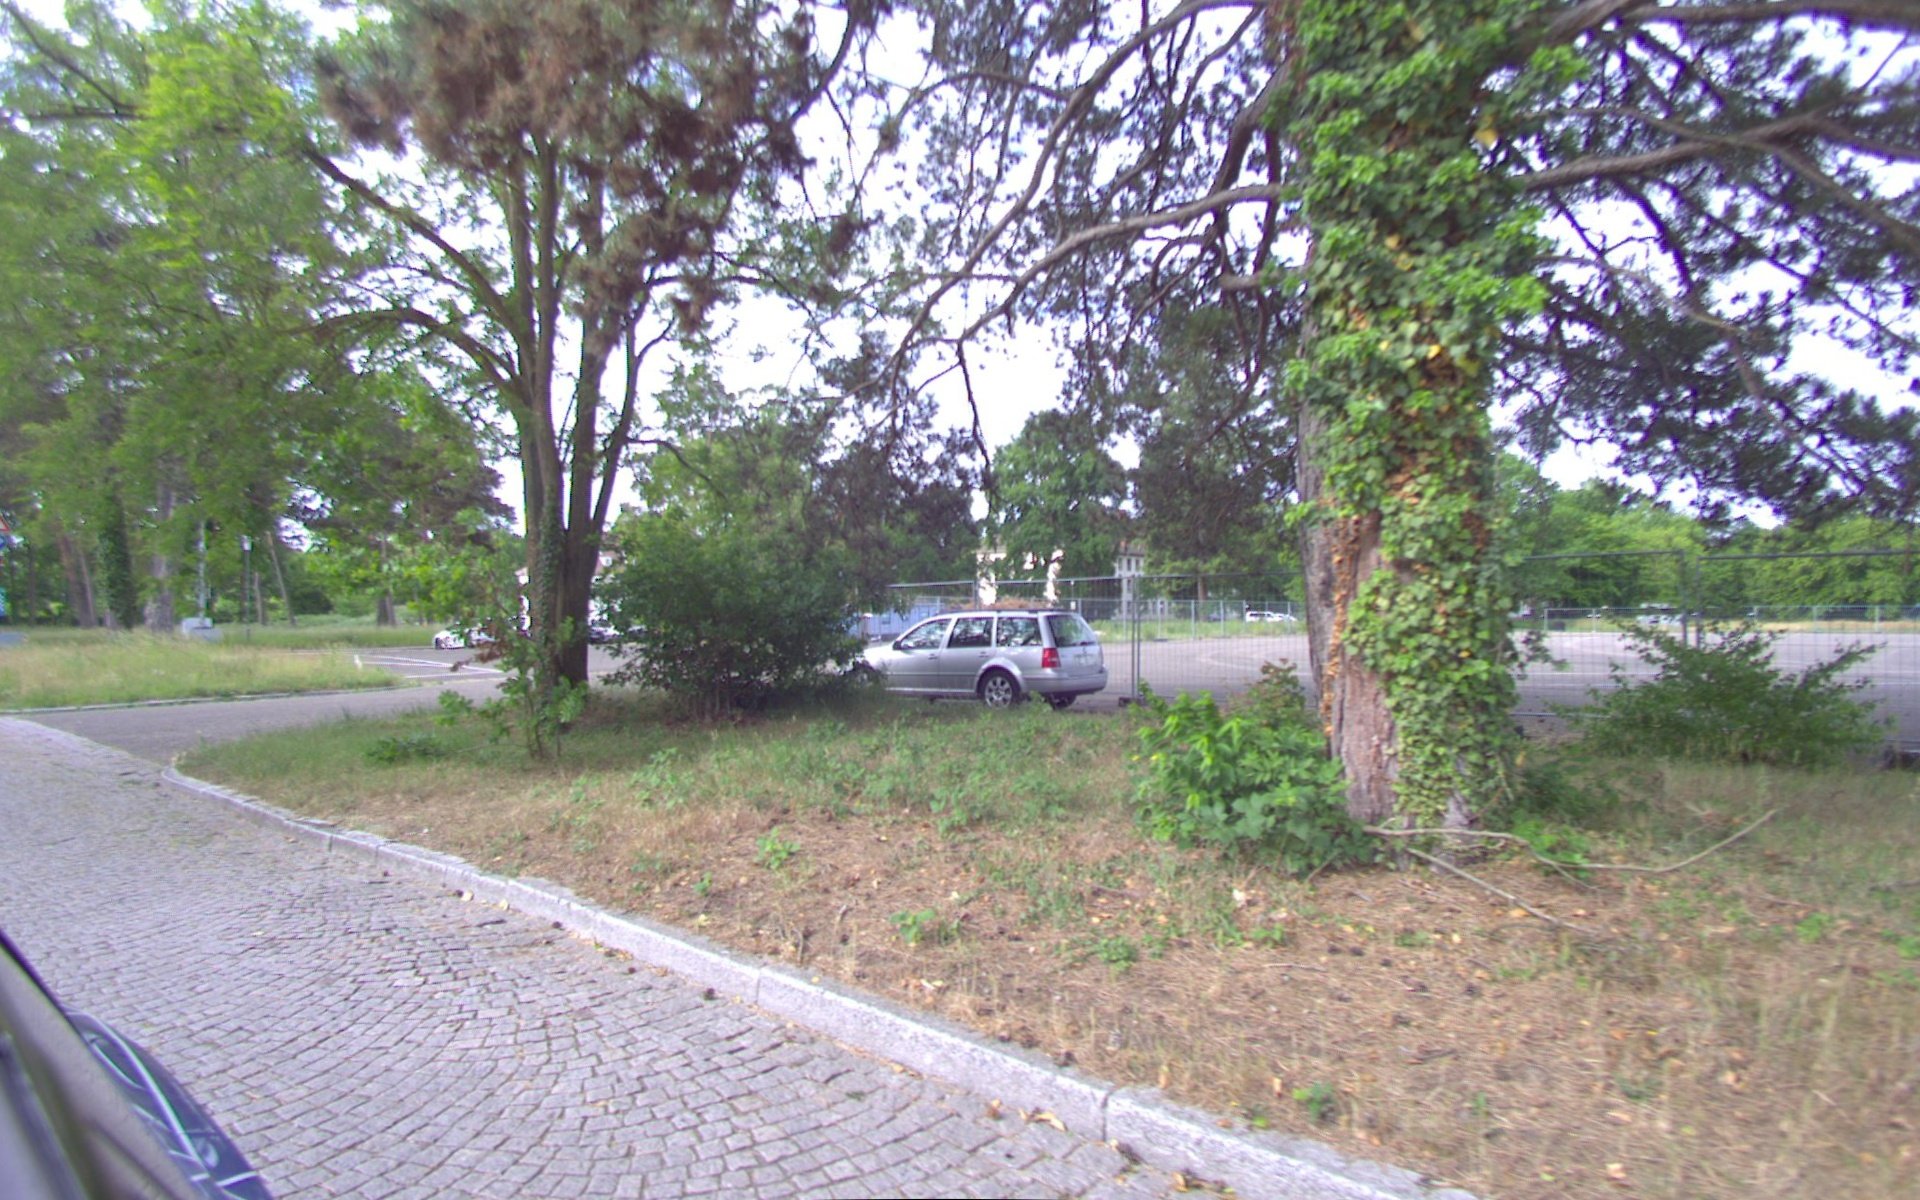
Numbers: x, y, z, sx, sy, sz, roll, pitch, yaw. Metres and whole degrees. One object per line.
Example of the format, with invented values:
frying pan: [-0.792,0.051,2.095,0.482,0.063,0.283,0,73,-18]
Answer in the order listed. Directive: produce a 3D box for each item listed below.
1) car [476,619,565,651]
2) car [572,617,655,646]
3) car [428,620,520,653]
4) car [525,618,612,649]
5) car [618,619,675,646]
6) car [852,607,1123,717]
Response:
car: [-21.210,1.658,48.790,4.444,1.460,1.976,-1,-1,36]
car: [-18.310,1.665,53.396,4.444,1.460,1.976,-1,-1,36]
car: [-22.392,1.654,46.555,4.444,1.460,1.976,-1,-1,36]
car: [-19.687,1.660,50.841,4.444,1.460,1.976,-1,-1,36]
car: [-20.645,2.135,66.643,3.795,1.696,1.593,-1,-1,34]
car: [0.341,0.837,14.862,3.717,1.421,1.650,-1,-1,37]
